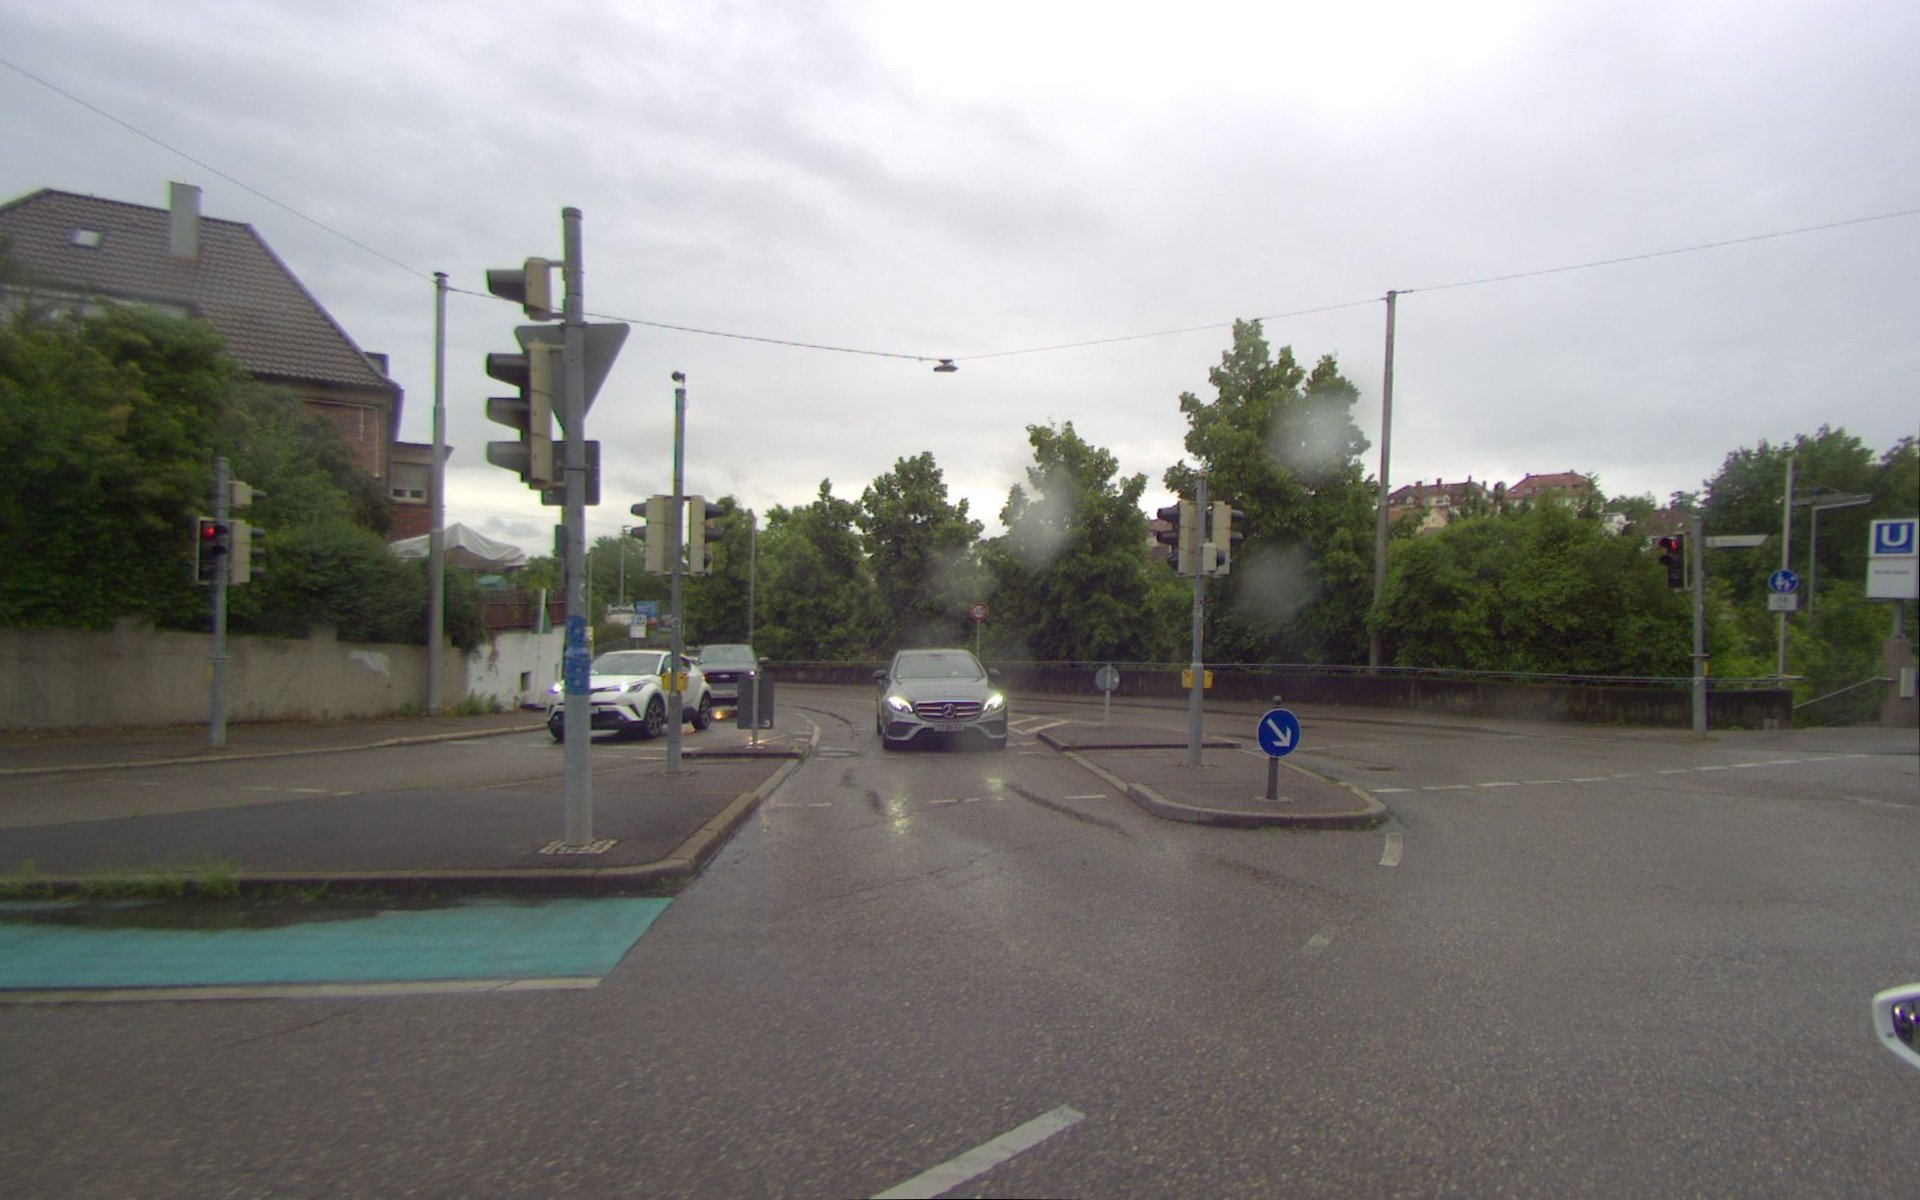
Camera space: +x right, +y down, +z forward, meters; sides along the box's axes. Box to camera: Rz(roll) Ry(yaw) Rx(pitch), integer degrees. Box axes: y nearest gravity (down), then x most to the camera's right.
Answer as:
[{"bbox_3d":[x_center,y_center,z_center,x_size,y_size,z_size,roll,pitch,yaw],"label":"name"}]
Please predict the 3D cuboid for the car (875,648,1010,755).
[{"bbox_3d":[-0.418,1.502,16.129,1.829,1.413,4.594,-1,-3,-5],"label":"car"}]

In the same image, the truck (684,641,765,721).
[{"bbox_3d":[-6.167,2.040,26.502,1.856,1.872,5.269,1,-3,-12],"label":"truck"}]

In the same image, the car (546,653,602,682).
[{"bbox_3d":[-21.732,3.794,56.408,1.836,1.493,4.397,-1,-2,-36],"label":"car"}]

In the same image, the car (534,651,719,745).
[{"bbox_3d":[-5.894,1.685,18.328,1.678,1.485,4.264,1,-3,4],"label":"car"}]
